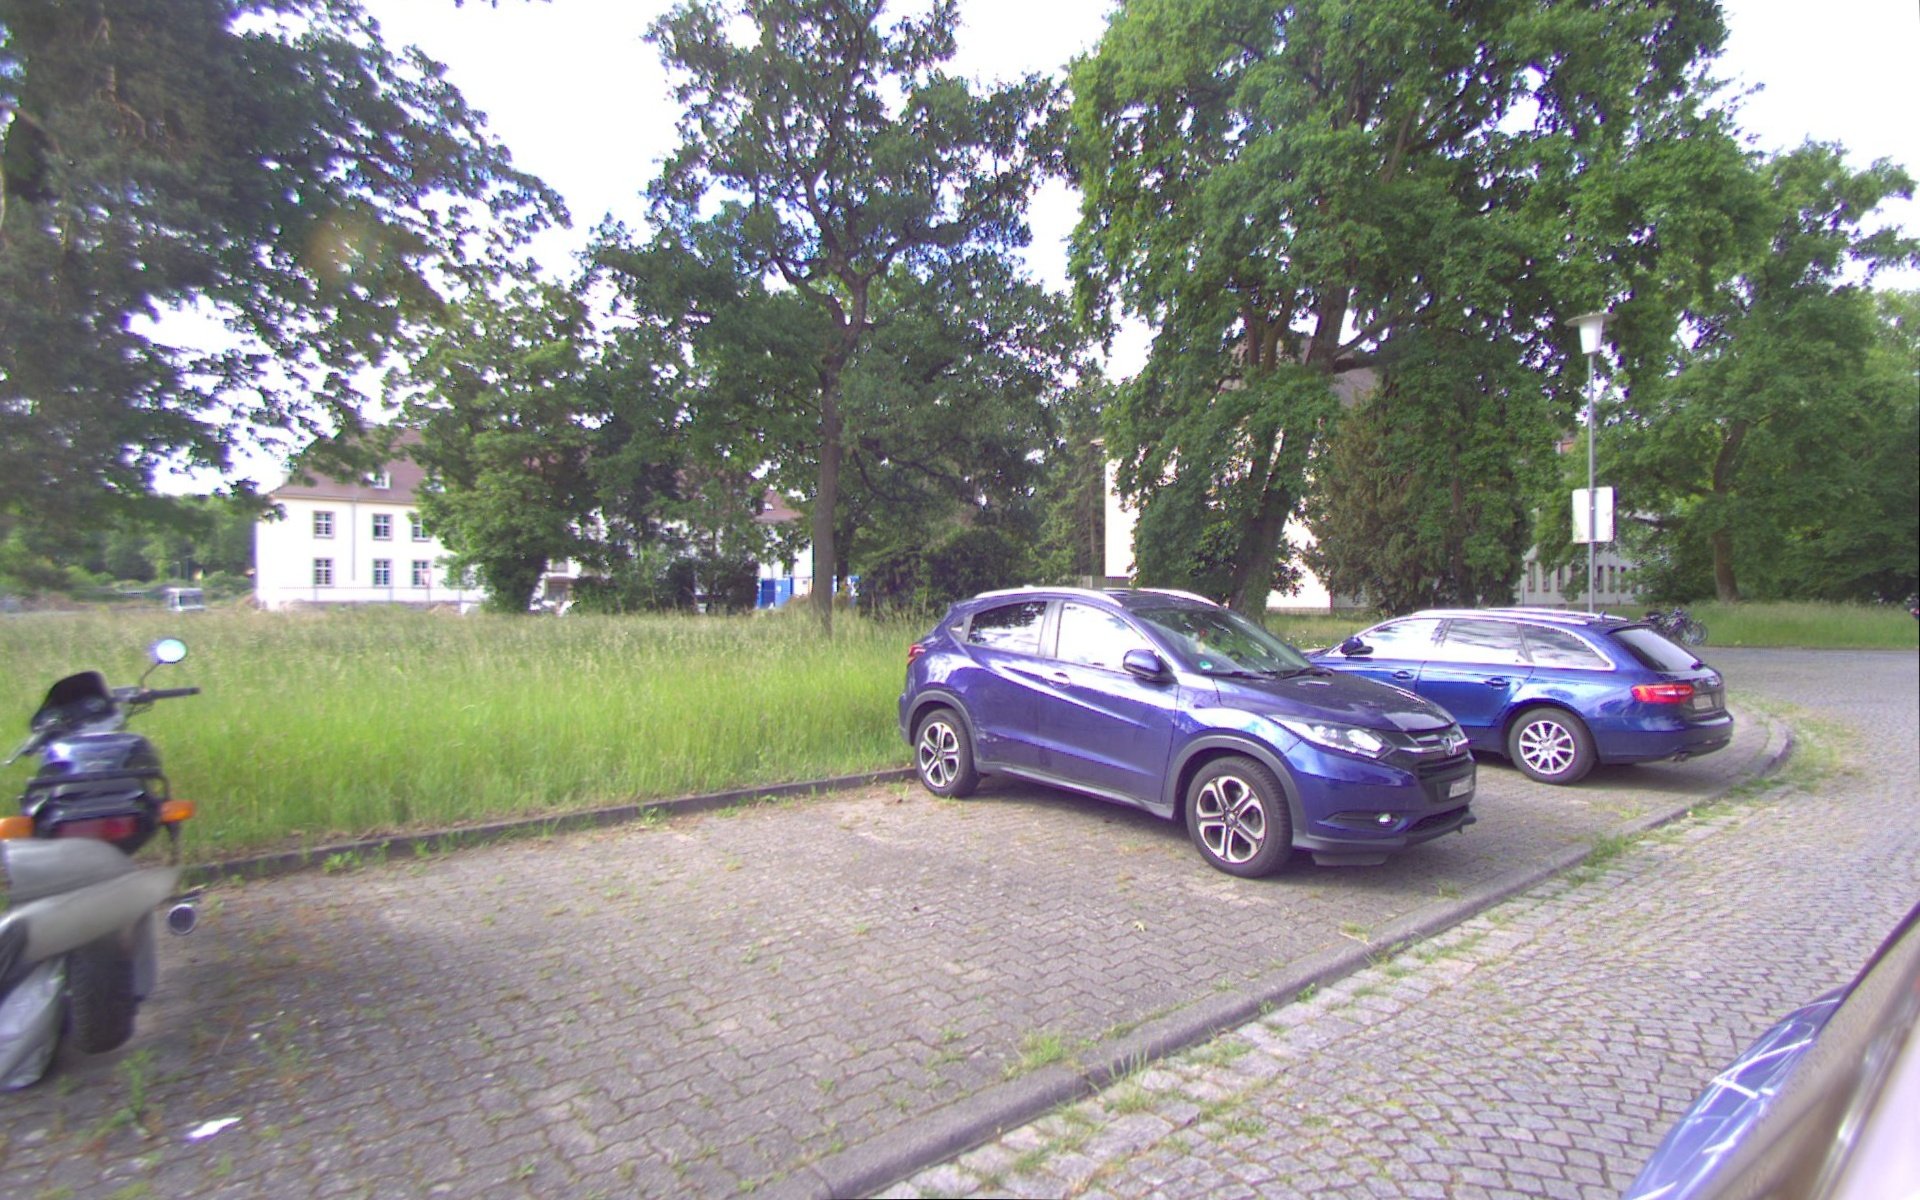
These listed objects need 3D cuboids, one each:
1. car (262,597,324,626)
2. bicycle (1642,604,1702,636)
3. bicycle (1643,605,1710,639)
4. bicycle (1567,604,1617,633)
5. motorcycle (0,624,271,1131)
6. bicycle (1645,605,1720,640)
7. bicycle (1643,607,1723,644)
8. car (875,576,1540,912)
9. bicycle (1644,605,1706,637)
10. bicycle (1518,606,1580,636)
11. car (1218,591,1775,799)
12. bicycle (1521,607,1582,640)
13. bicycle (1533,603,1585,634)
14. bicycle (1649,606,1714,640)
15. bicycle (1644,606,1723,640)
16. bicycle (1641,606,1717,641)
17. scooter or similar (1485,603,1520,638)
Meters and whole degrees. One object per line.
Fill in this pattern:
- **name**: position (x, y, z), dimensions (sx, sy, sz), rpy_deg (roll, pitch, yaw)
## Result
- **car**: position (-48.550, 0.842, 73.598), dimensions (5.813, 2.039, 2.449), rpy_deg (-2, 0, 43)
- **bicycle**: position (26.476, 0.739, 37.662), dimensions (1.735, 1.101, 0.548), rpy_deg (0, 2, 29)
- **bicycle**: position (25.045, 0.763, 35.428), dimensions (1.849, 1.101, 0.515), rpy_deg (0, 2, 29)
- **bicycle**: position (24.052, 0.689, 38.538), dimensions (1.550, 1.047, 0.472), rpy_deg (1, 0, 27)
- **motorcycle**: position (-3.150, 0.774, 3.757), dimensions (0.596, 1.291, 2.266), rpy_deg (0, 1, -44)
- **bicycle**: position (24.274, 0.738, 34.030), dimensions (2.000, 1.101, 0.474), rpy_deg (0, 2, 29)
- **bicycle**: position (22.985, 0.801, 32.212), dimensions (2.000, 1.101, 0.474), rpy_deg (0, 2, 29)
- **car**: position (1.397, 0.657, 7.117), dimensions (1.861, 1.593, 4.272), rpy_deg (1, 1, -40)
- **bicycle**: position (26.113, 0.746, 36.978), dimensions (1.792, 1.101, 0.548), rpy_deg (0, 2, 29)
- **bicycle**: position (20.912, 0.730, 35.946), dimensions (1.836, 1.002, 0.452), rpy_deg (1, 0, 24)
- **car**: position (4.972, 0.706, 10.039), dimensions (1.860, 1.483, 4.519), rpy_deg (0, 1, -36)
- **bicycle**: position (20.701, 0.802, 35.433), dimensions (1.793, 1.101, 0.475), rpy_deg (0, 2, 24)
- **bicycle**: position (22.048, 0.663, 37.278), dimensions (1.546, 1.102, 0.558), rpy_deg (0, 0, 20)
- **bicycle**: position (24.721, 0.771, 34.706), dimensions (1.773, 1.101, 0.474), rpy_deg (0, 2, 29)
- **bicycle**: position (23.274, 0.729, 32.600), dimensions (2.000, 1.022, 0.474), rpy_deg (0, 2, 29)
- **bicycle**: position (23.839, 0.758, 33.572), dimensions (2.000, 1.101, 0.474), rpy_deg (0, 2, 29)
- **scooter or similar**: position (19.274, 0.724, 35.965), dimensions (0.378, 1.210, 1.063), rpy_deg (0, 0, -37)
